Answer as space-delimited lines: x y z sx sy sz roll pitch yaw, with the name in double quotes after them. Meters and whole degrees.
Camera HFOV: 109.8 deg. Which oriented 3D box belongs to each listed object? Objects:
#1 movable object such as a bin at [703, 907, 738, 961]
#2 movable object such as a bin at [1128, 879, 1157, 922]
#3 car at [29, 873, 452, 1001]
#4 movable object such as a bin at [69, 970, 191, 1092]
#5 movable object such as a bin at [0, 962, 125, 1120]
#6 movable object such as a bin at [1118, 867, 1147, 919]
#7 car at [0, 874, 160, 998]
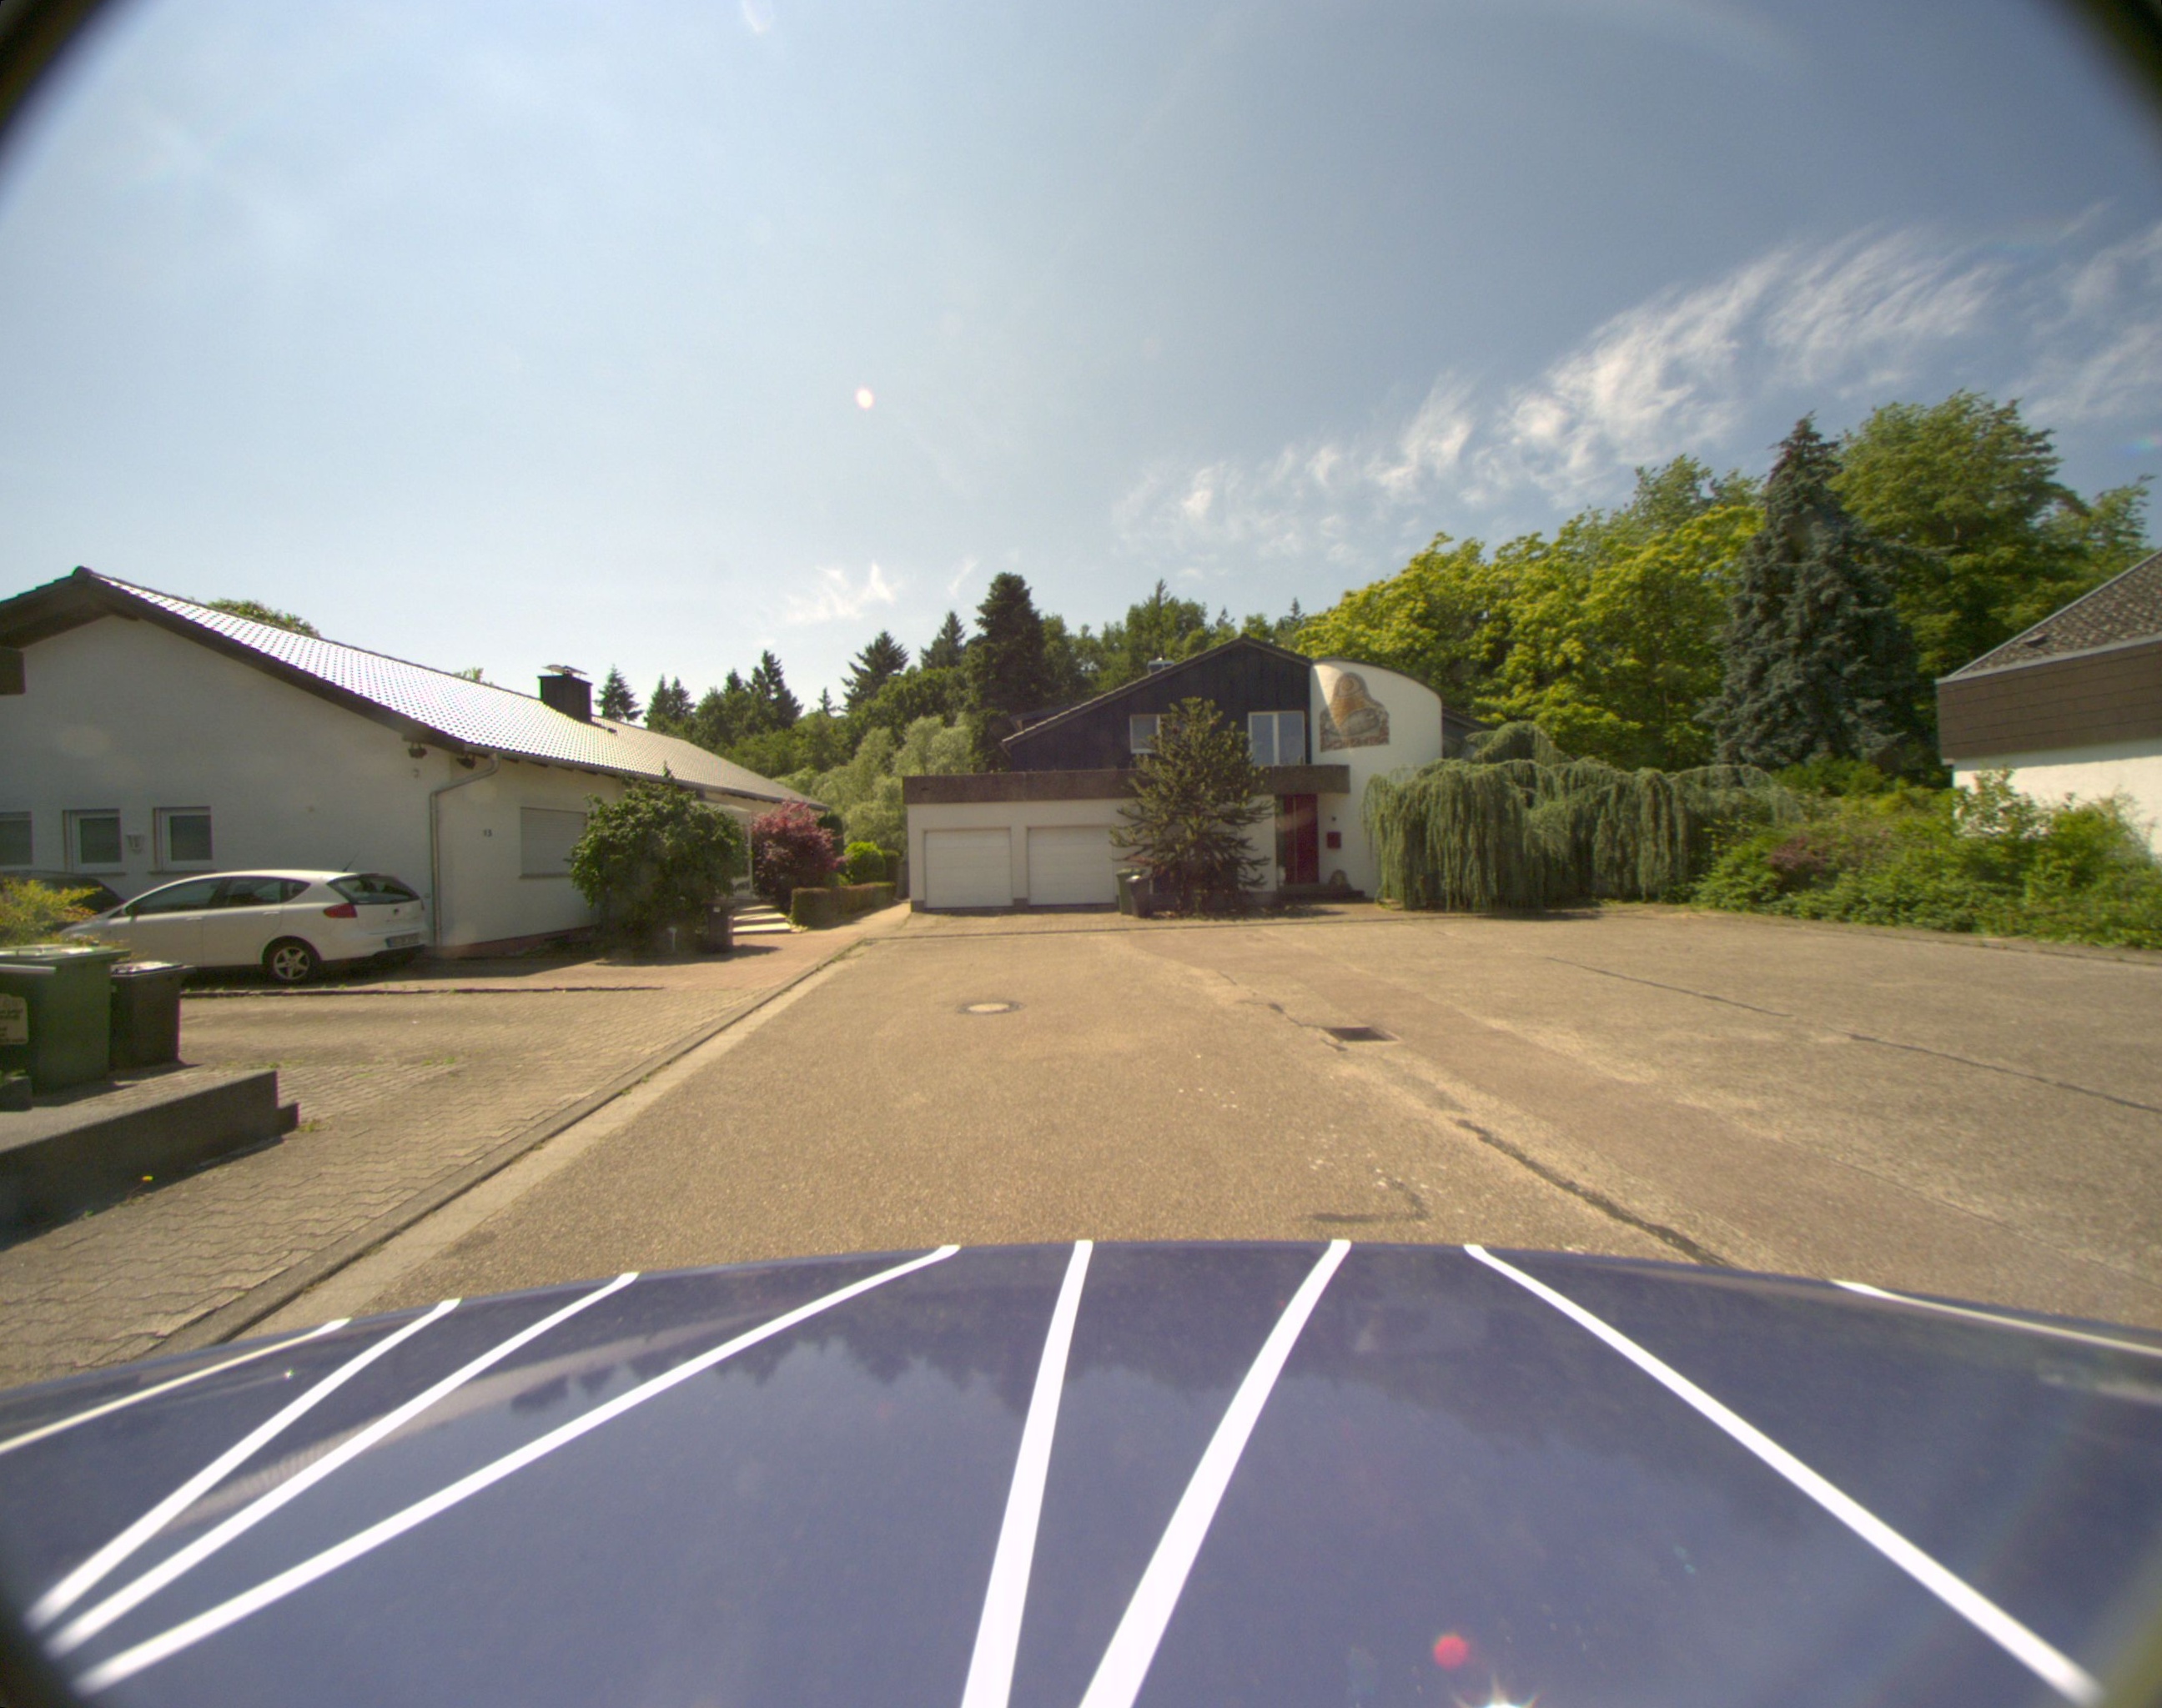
-6.263 1.376 13.201 0.390 0.886 0.375 -1 2 0 "movable object such as a bin"
1.414 1.049 17.437 0.524 0.944 0.388 -2 1 -26 "movable object such as a bin"
-11.935 1.120 11.036 3.998 1.559 1.751 -1 1 -3 "car"
-7.814 1.440 6.258 0.426 0.886 0.407 -2 2 -7 "movable object such as a bin"
-7.826 1.385 5.706 0.491 1.035 0.592 -2 1 -7 "movable object such as a bin"
1.225 0.911 18.086 0.633 1.196 0.551 -2 1 1 "movable object such as a bin"
-16.677 1.168 11.126 3.997 1.599 1.928 -1 1 1 "car"
